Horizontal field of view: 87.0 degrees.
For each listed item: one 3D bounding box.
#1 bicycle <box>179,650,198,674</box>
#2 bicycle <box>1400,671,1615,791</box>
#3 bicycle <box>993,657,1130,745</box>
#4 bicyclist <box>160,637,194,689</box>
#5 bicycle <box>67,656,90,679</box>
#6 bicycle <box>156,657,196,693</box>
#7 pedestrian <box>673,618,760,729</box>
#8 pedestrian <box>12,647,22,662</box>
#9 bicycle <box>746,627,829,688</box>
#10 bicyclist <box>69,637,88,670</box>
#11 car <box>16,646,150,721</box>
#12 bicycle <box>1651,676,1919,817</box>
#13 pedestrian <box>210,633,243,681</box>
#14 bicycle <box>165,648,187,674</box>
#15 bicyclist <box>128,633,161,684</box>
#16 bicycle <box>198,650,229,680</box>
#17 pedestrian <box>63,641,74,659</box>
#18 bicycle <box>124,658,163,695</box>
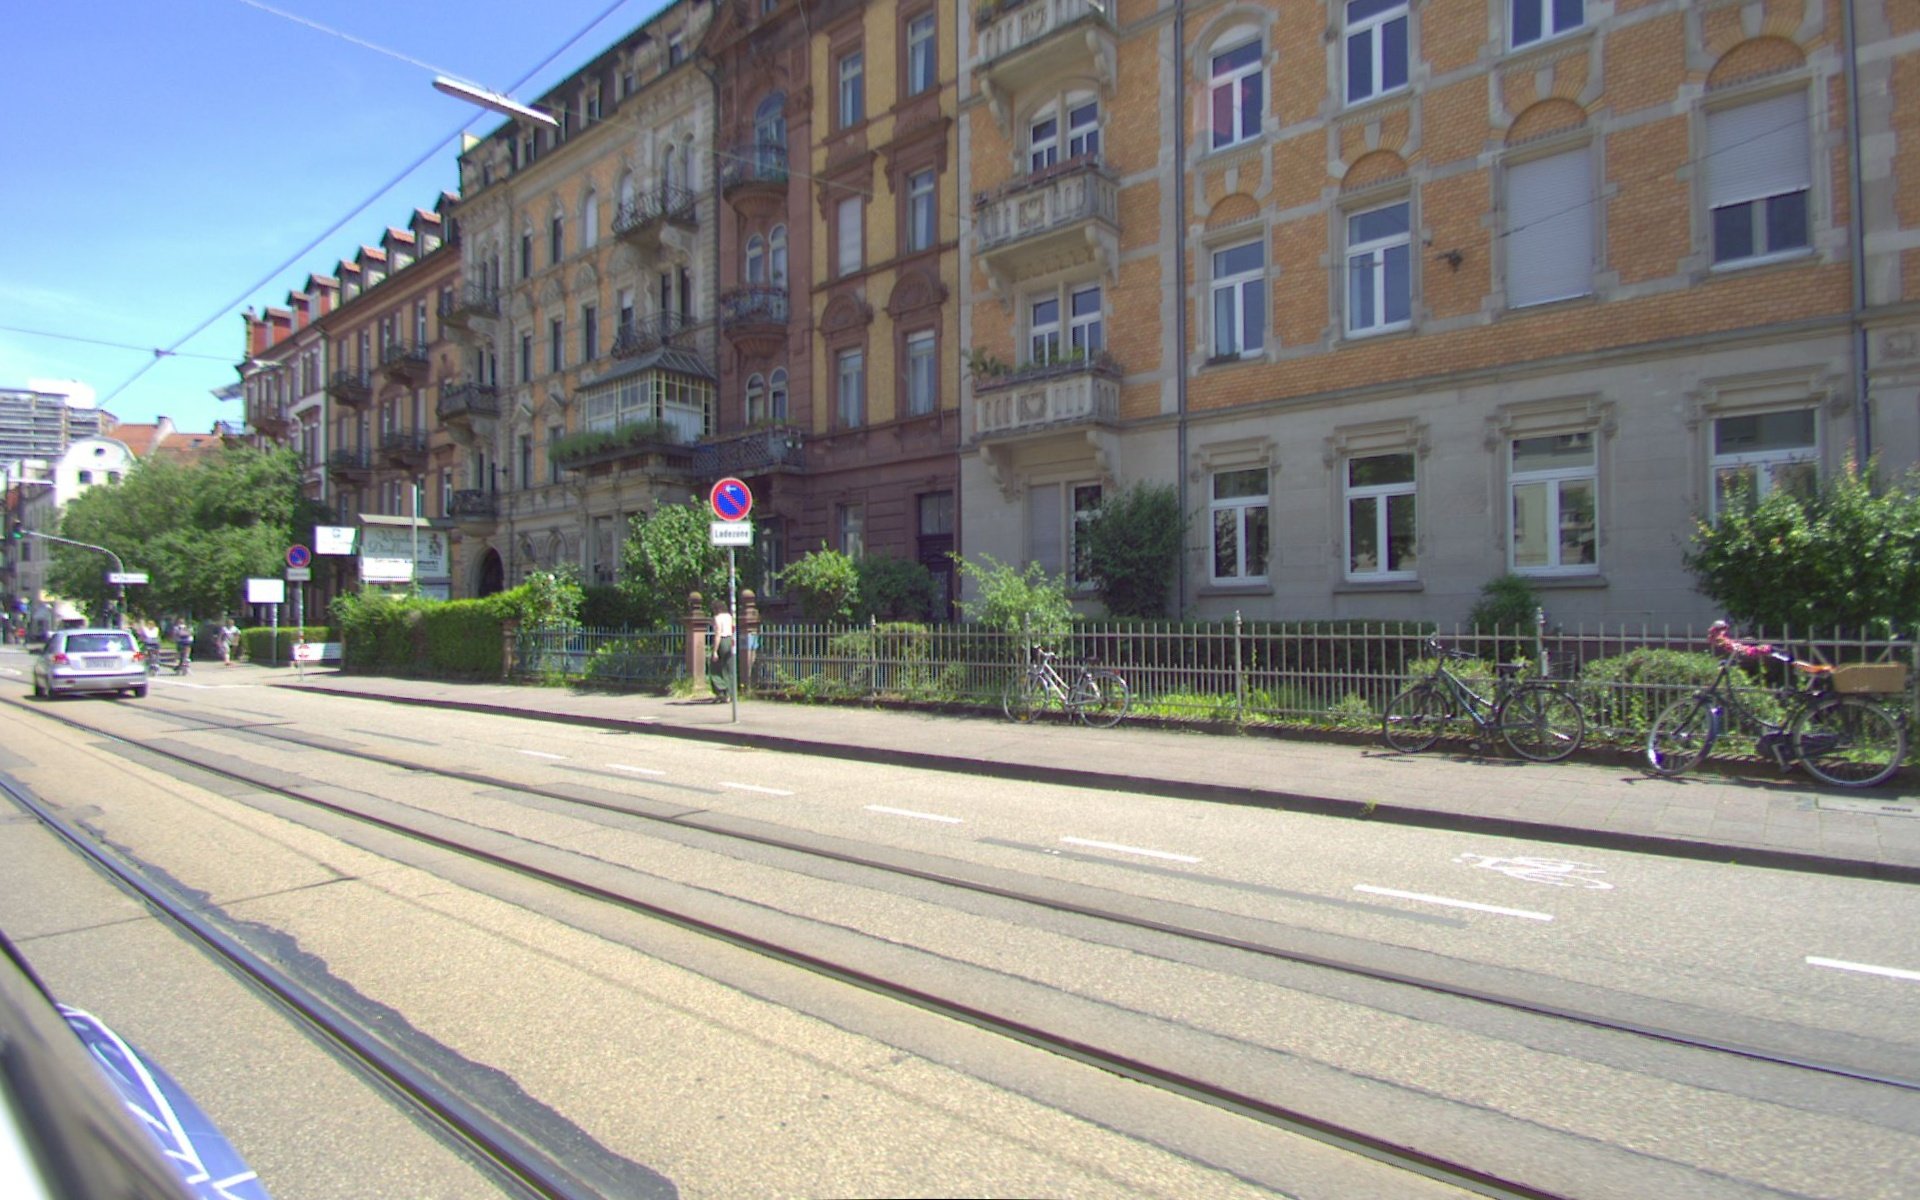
[{"bbox_3d":[-35.055,2.820,45.998,1.565,1.064,0.454,-2,-2,44],"label":"bicycle"},{"bbox_3d":[5.114,1.192,9.525,1.709,0.991,0.434,-2,-2,39],"label":"bicycle"},{"bbox_3d":[1.281,1.258,12.955,1.709,0.994,0.492,-2,2,39],"label":"bicycle"},{"bbox_3d":[-24.766,1.972,32.001,1.027,1.596,0.627,-2,-3,40],"label":"bicyclist"},{"bbox_3d":[-41.959,3.197,48.160,1.828,1.046,0.562,-2,-2,41],"label":"bicycle"},{"bbox_3d":[-24.831,2.359,32.038,1.873,1.086,0.622,-2,-3,40],"label":"bicycle"},{"bbox_3d":[-4.071,1.197,16.904,1.138,1.736,0.842,-2,1,41],"label":"pedestrian"},{"bbox_3d":[-89.664,5.197,96.248,0.519,1.452,0.531,-2,-2,30],"label":"pedestrian"},{"bbox_3d":[-3.102,1.017,18.276,0.495,1.051,1.494,-2,-2,41],"label":"bicycle"},{"bbox_3d":[-41.984,2.552,48.195,0.891,1.527,0.556,-2,-2,41],"label":"bicyclist"},{"bbox_3d":[-19.091,1.740,21.985,3.998,1.460,1.667,-2,-2,41],"label":"car"},{"bbox_3d":[6.653,1.140,8.186,1.709,0.991,0.434,-2,-2,39],"label":"bicycle"},{"bbox_3d":[-26.552,2.047,36.633,0.862,1.713,1.014,1,-2,-43],"label":"pedestrian"},{"bbox_3d":[-36.700,2.846,47.387,1.716,1.178,0.566,-2,-2,44],"label":"bicycle"},{"bbox_3d":[-25.320,1.797,31.422,0.951,1.556,0.586,-2,-3,40],"label":"bicyclist"},{"bbox_3d":[-29.825,2.587,40.417,1.931,1.101,0.631,-2,0,44],"label":"bicycle"},{"bbox_3d":[-72.266,4.080,82.028,0.519,1.452,0.531,-2,-2,30],"label":"pedestrian"},{"bbox_3d":[-25.334,2.355,31.407,1.889,1.086,0.575,-2,-3,40],"label":"bicycle"}]
